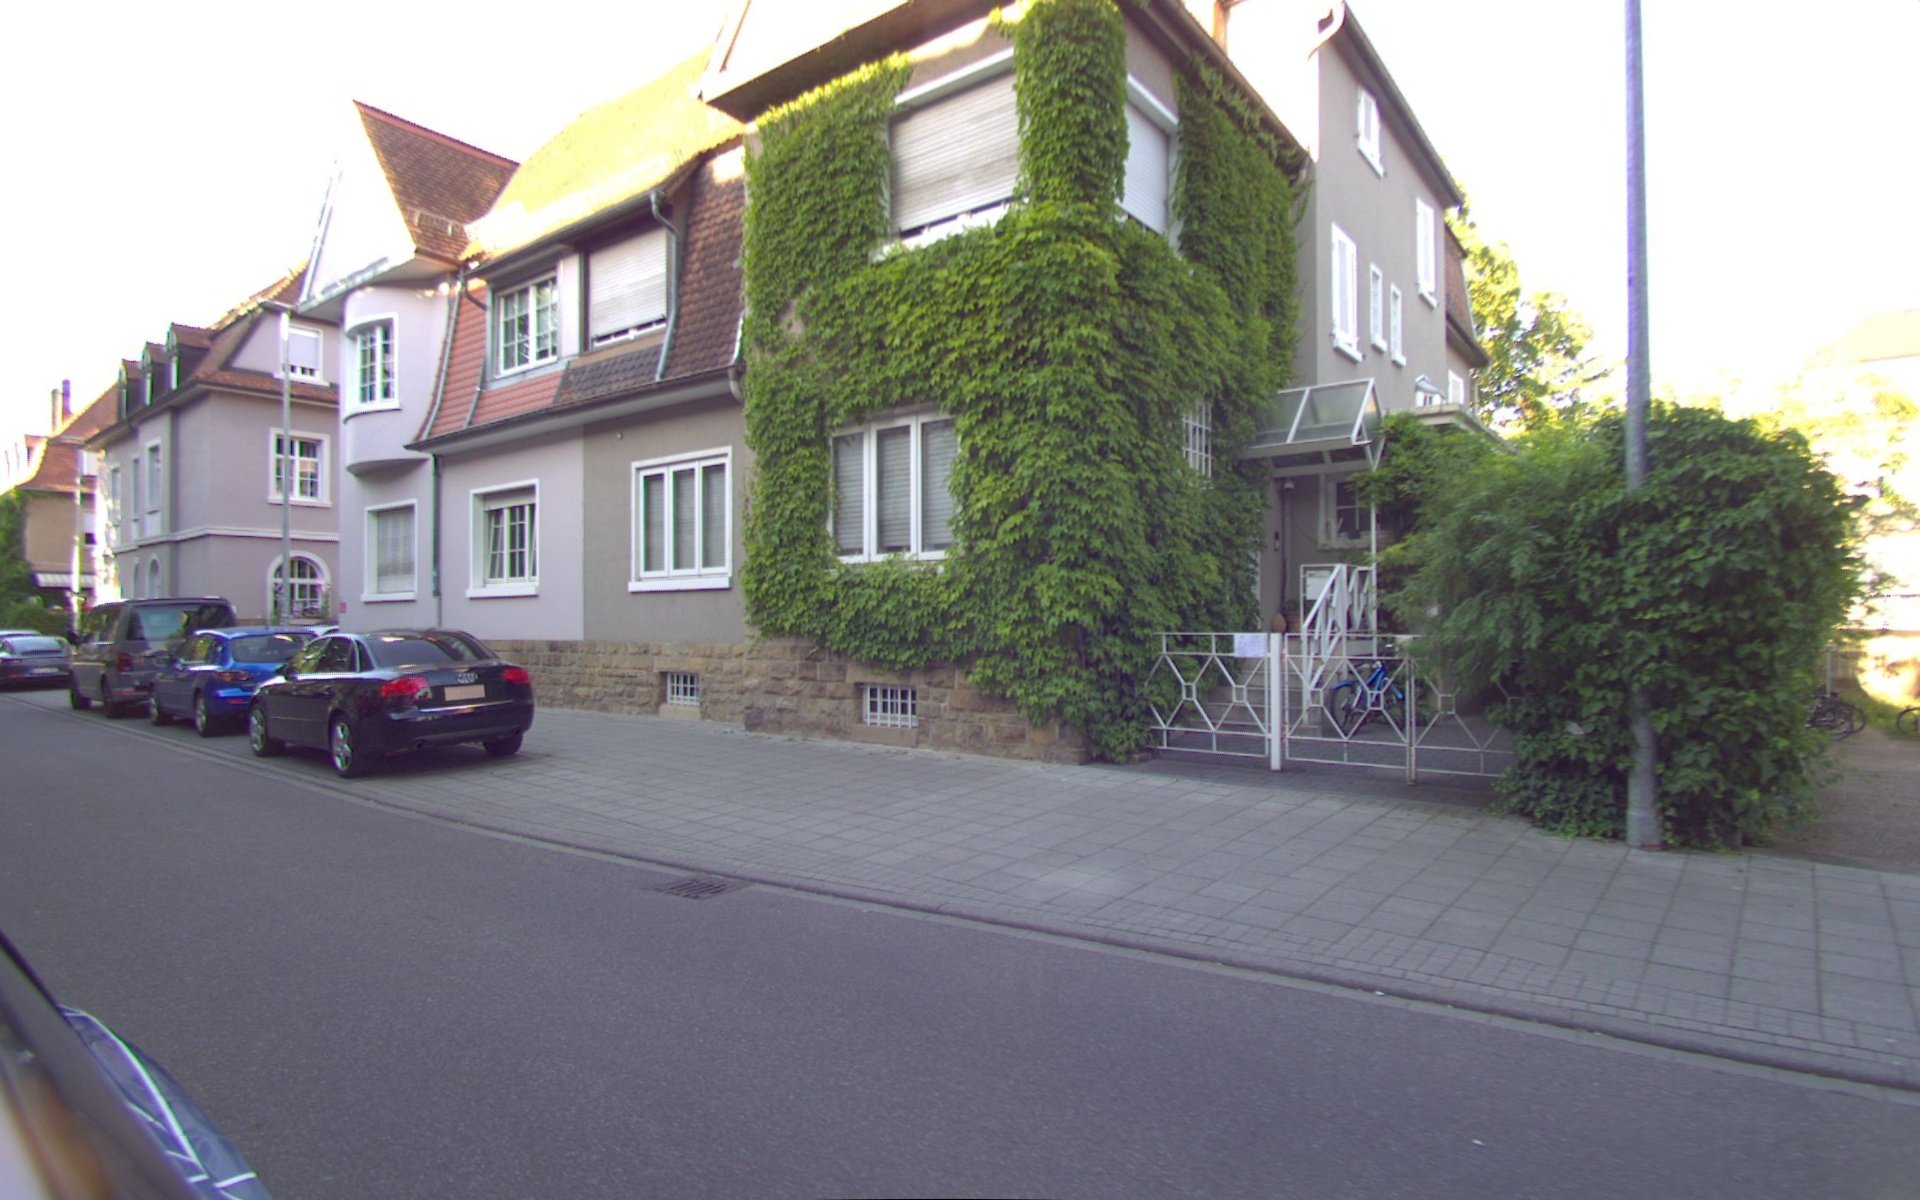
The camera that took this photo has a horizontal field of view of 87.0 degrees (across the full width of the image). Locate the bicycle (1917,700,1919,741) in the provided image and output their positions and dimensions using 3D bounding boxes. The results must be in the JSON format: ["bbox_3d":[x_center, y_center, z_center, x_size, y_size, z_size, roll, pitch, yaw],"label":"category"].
[{"bbox_3d":[21.812,2.634,21.751,1.754,0.886,0.558,-1,-4,41],"label":"bicycle"}]

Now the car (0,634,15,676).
[{"bbox_3d":[-33.523,1.875,34.441,3.675,1.372,1.641,-2,0,42],"label":"car"}]

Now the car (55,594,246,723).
[{"bbox_3d":[-14.580,0.972,18.132,4.609,1.990,1.819,-2,0,40],"label":"car"}]

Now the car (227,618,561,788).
[{"bbox_3d":[-6.391,0.988,11.202,4.425,1.457,1.783,-2,0,40],"label":"car"}]

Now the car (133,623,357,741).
[{"bbox_3d":[-10.662,1.116,14.997,4.059,1.457,1.745,-2,0,40],"label":"car"}]

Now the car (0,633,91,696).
[{"bbox_3d":[-23.276,1.563,25.328,4.063,1.394,1.907,-2,0,43],"label":"car"}]

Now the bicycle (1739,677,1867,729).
[{"bbox_3d":[20.399,2.477,24.554,2.337,1.142,0.685,-1,-4,41],"label":"bicycle"}]

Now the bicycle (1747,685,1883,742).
[{"bbox_3d":[19.150,2.516,22.728,2.294,1.142,0.685,-1,-4,41],"label":"bicycle"}]

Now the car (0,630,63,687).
[{"bbox_3d":[-27.323,1.649,29.023,4.060,1.478,1.908,-2,0,42],"label":"car"}]

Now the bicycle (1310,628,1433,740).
[{"bbox_3d":[4.706,0.905,11.485,0.476,1.111,2.172,-2,-1,44],"label":"bicycle"}]
